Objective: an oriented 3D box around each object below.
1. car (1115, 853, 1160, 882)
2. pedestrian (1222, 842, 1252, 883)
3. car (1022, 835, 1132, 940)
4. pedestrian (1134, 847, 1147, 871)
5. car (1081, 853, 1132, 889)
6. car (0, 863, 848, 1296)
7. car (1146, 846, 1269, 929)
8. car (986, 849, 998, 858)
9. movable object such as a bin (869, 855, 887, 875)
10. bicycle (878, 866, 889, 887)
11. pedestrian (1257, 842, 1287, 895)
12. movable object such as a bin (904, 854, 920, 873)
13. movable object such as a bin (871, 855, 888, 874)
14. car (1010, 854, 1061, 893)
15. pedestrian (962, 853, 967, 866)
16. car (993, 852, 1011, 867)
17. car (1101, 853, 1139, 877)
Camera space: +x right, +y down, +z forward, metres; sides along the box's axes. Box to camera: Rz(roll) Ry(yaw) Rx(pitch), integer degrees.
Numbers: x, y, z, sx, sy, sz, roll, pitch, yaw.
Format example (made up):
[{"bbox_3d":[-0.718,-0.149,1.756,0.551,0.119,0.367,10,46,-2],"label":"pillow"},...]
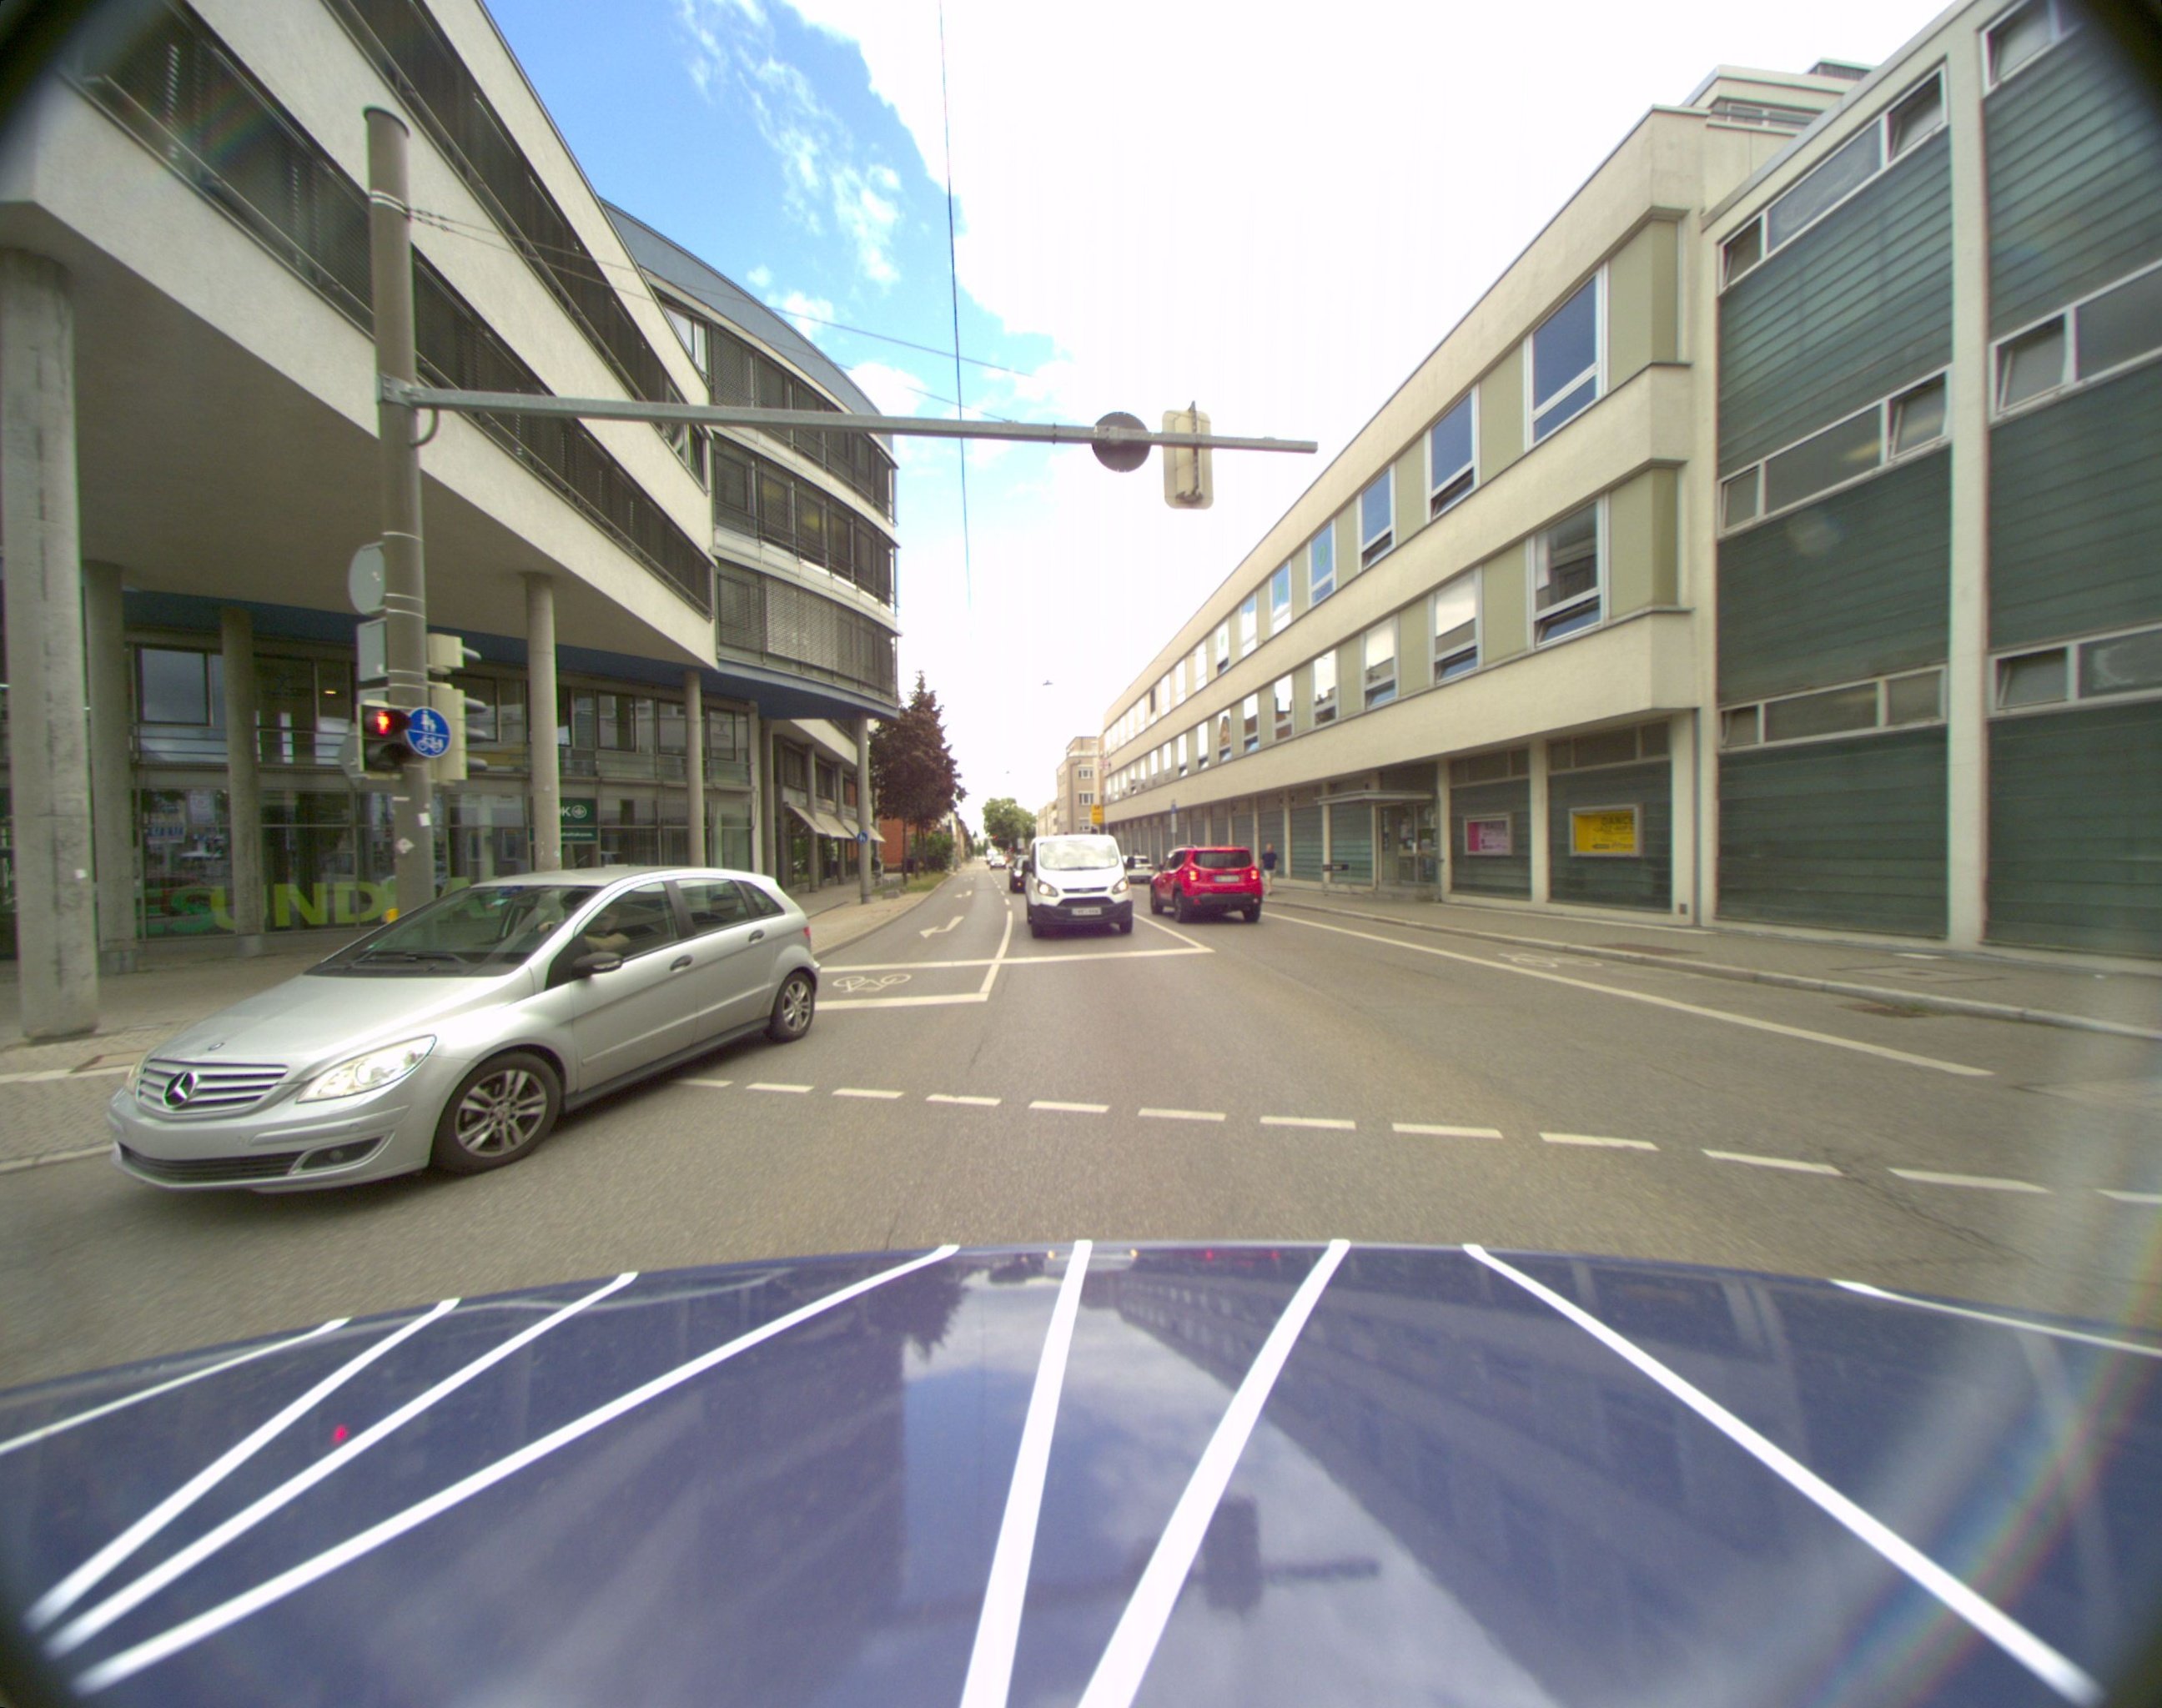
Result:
[{"bbox_3d":[2.938,0.685,40.533,1.675,1.425,4.550,0,0,-5],"label":"car"},{"bbox_3d":[6.704,0.353,32.662,0.864,1.708,1.030,-3,1,-9],"label":"pedestrian"},{"bbox_3d":[-0.261,0.634,17.253,1.966,1.986,5.084,-1,1,-6],"label":"car"},{"bbox_3d":[4.217,0.364,54.160,0.592,1.708,0.648,-2,1,-41],"label":"pedestrian"},{"bbox_3d":[1.074,0.722,33.585,1.662,1.458,3.918,-1,0,-6],"label":"car"},{"bbox_3d":[-3.744,0.974,5.402,1.997,1.537,4.573,-3,1,11],"label":"car"},{"bbox_3d":[2.801,0.672,17.652,1.805,1.685,3.895,-1,0,-6],"label":"car"},{"bbox_3d":[-15.869,-0.063,134.980,1.966,1.517,4.568,-1,1,-9],"label":"car"},{"bbox_3d":[-15.060,0.800,56.358,1.101,1.457,1.332,0,1,-9],"label":"movable object such as a bin"},{"bbox_3d":[-11.165,1.278,43.059,0.362,1.080,2.025,-3,1,-9],"label":"bicycle"},{"bbox_3d":[6.257,0.458,24.937,0.591,1.708,1.054,-1,1,-9],"label":"pedestrian"},{"bbox_3d":[-13.234,0.770,59.564,1.131,1.457,1.411,0,1,-9],"label":"movable object such as a bin"},{"bbox_3d":[-15.274,0.785,57.700,1.125,1.457,1.332,0,1,-9],"label":"movable object such as a bin"},{"bbox_3d":[-2.026,0.772,32.919,1.966,1.517,4.569,-1,0,-6],"label":"car"},{"bbox_3d":[-16.401,0.778,106.682,0.690,1.721,0.649,-1,1,-9],"label":"pedestrian"},{"bbox_3d":[-8.751,0.621,84.016,1.966,1.517,4.569,-1,0,-6],"label":"car"},{"bbox_3d":[2.366,0.652,46.761,1.820,1.417,4.262,0,0,-4],"label":"car"}]
